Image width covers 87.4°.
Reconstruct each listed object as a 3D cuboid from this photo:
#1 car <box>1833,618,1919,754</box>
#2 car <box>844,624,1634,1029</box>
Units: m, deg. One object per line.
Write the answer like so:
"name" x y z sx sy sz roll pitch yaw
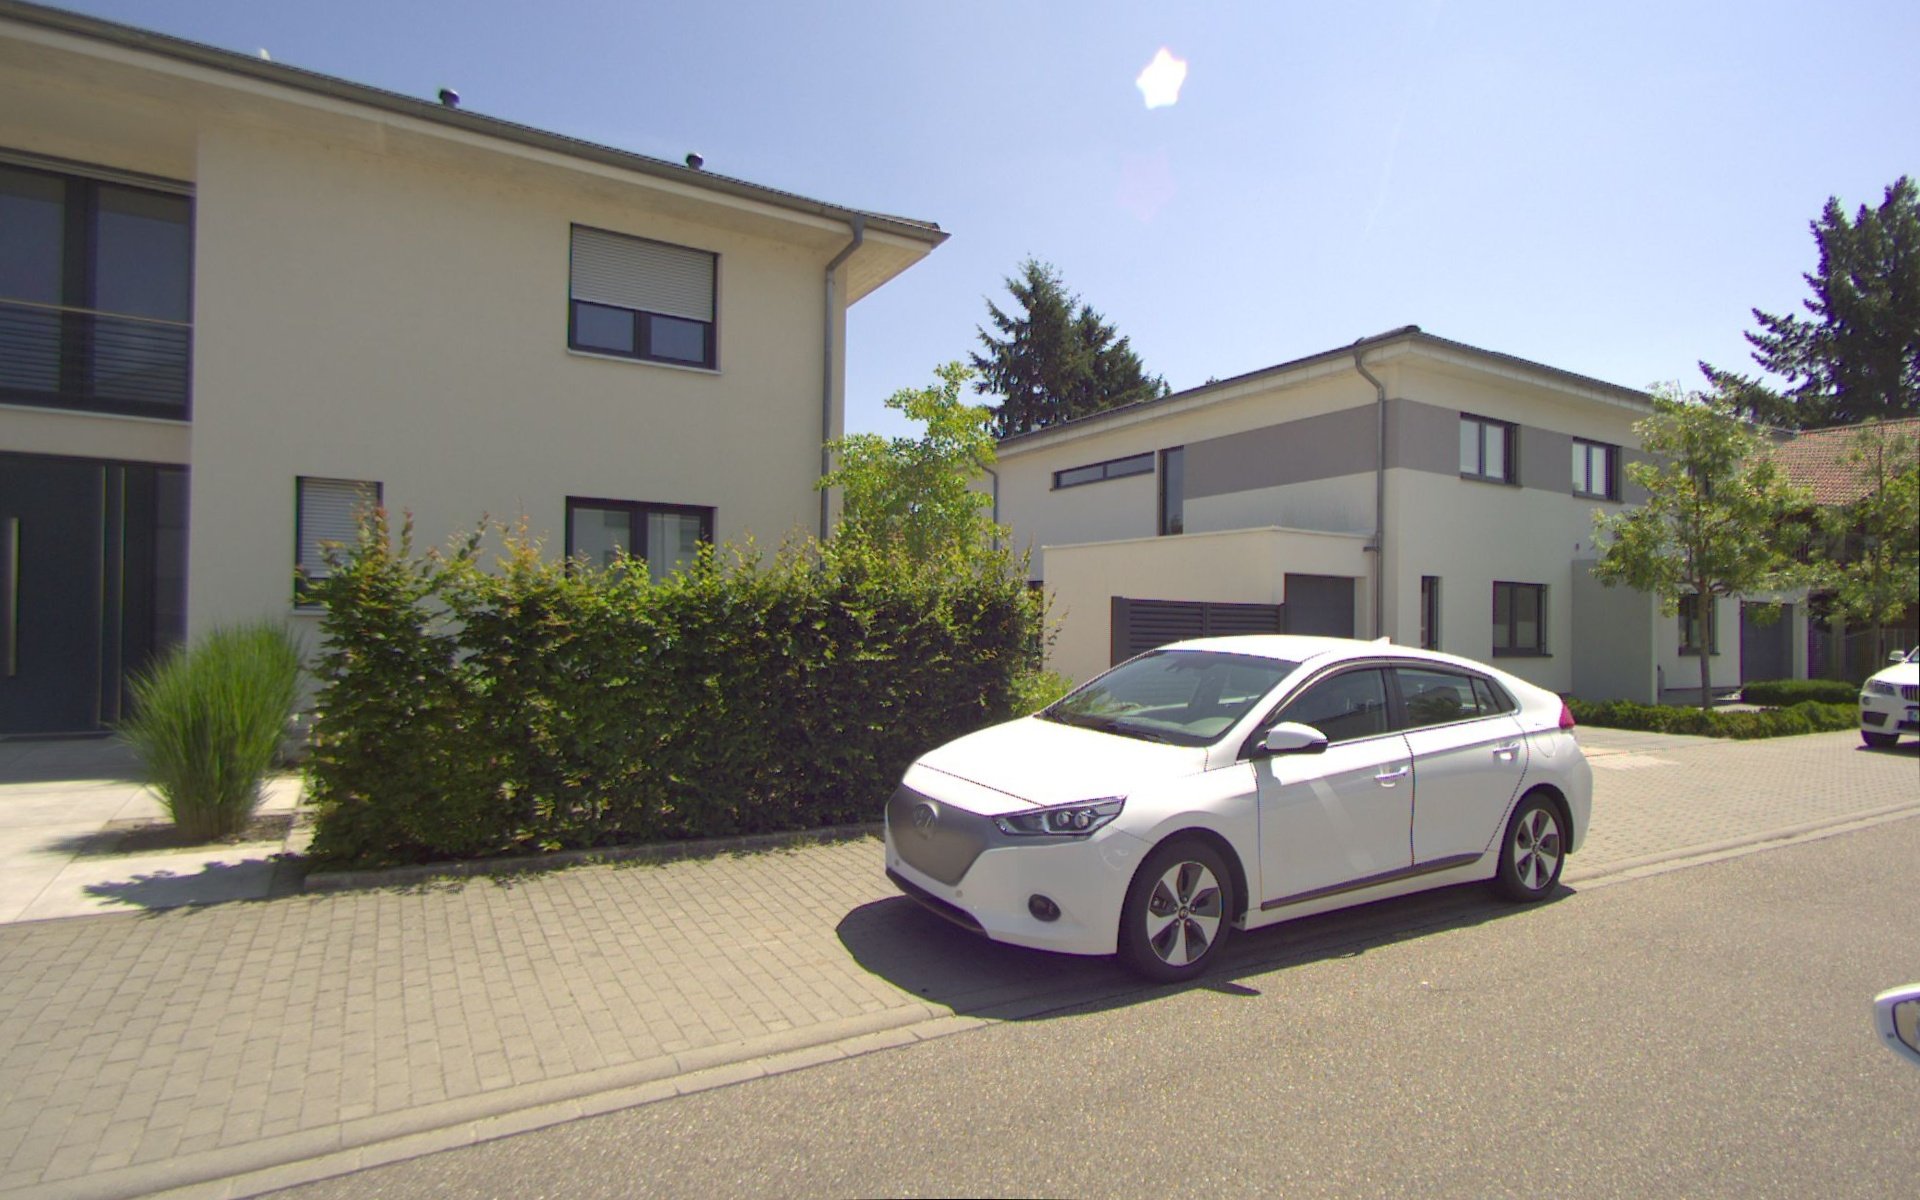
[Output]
"car" 14.017 1.138 13.662 4.445 1.709 1.918 2 -2 -30
"car" 1.705 0.940 5.736 4.333 1.507 1.843 2 0 -30
